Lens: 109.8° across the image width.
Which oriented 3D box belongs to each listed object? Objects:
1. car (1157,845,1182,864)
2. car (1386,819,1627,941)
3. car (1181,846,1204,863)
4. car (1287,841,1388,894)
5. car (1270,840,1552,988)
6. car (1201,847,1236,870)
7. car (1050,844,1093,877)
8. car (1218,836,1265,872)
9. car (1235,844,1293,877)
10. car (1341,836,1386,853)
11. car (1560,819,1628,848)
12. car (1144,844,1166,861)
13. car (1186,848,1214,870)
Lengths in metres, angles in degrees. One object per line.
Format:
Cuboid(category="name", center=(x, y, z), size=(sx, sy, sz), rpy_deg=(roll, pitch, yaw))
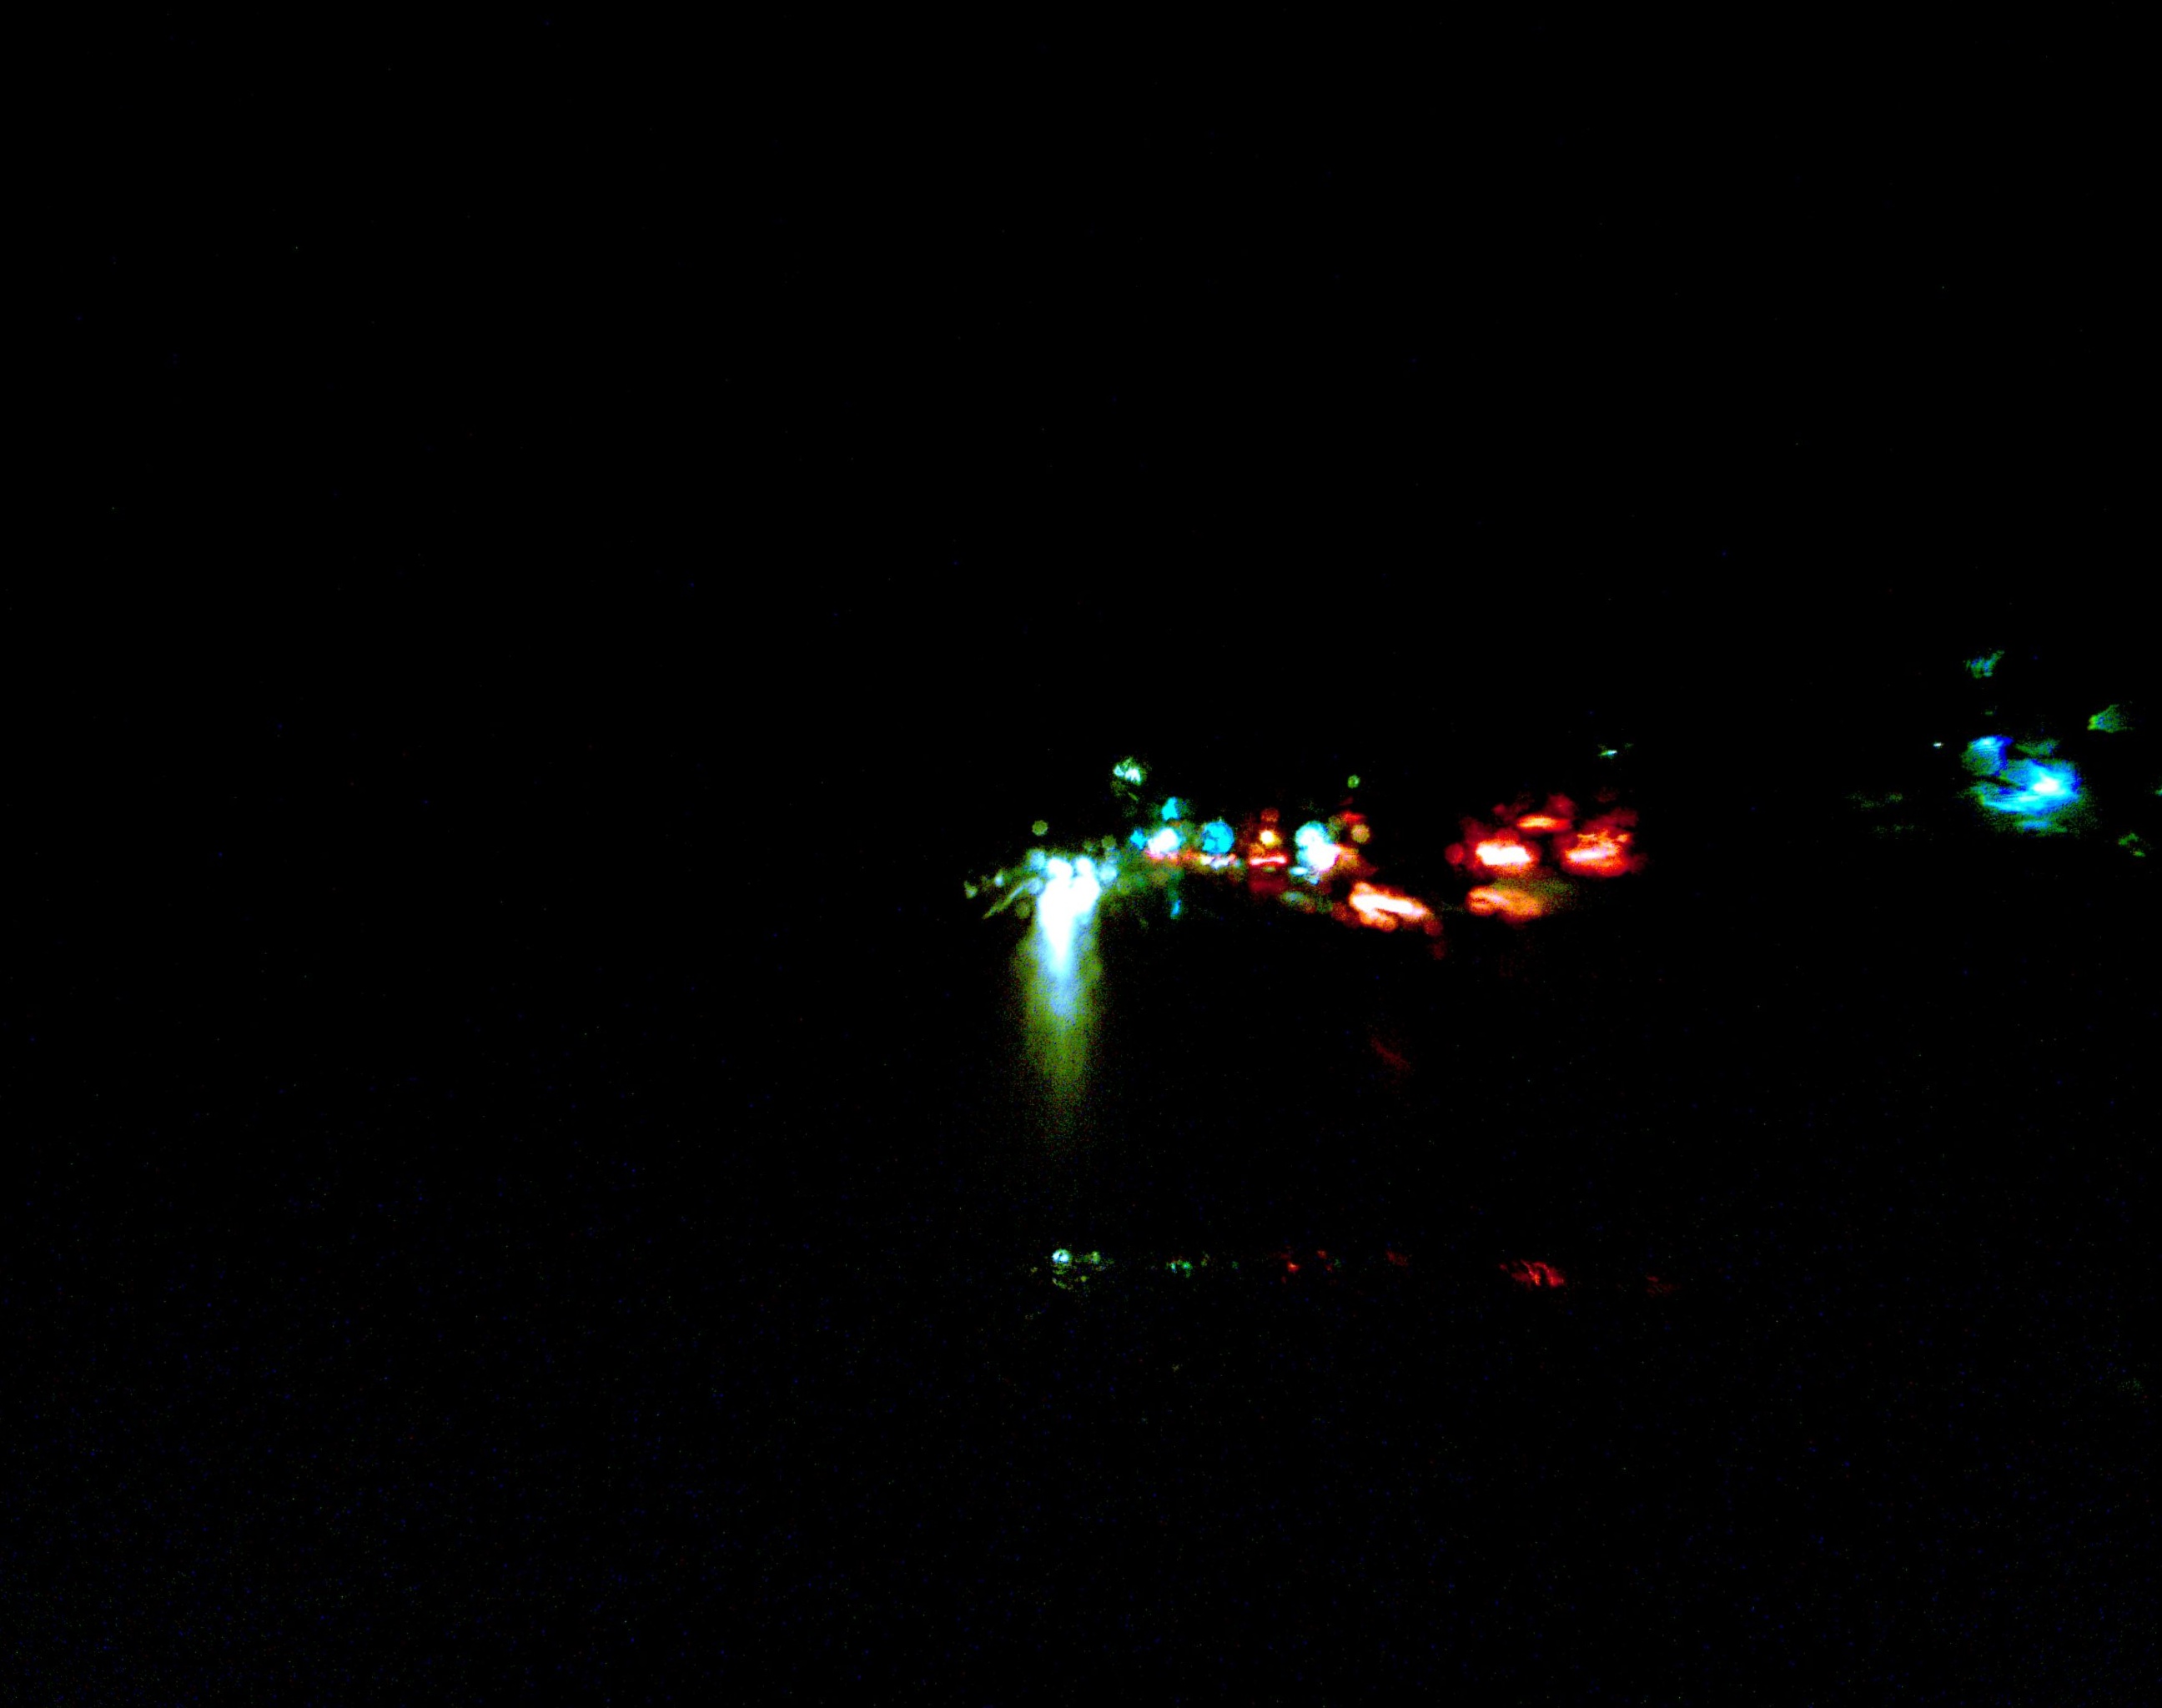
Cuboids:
Cuboid(category="car", center=(8.298, 0.007, 71.480), size=(1.961, 1.562, 4.466), rpy_deg=(-2, 1, 2))
Cuboid(category="car", center=(7.627, 0.387, 14.399), size=(1.998, 1.854, 5.321), rpy_deg=(-1, 0, 5))
Cuboid(category="car", center=(10.671, 0.009, 72.800), size=(1.827, 1.444, 3.602), rpy_deg=(-2, 1, 3))
Cuboid(category="car", center=(8.351, 0.383, 25.252), size=(2.088, 1.534, 4.900), rpy_deg=(-1, 0, 5))
Cuboid(category="car", center=(4.187, 0.636, 10.653), size=(2.115, 1.566, 4.680), rpy_deg=(-2, 1, 3))
Cuboid(category="car", center=(9.708, 0.290, 53.887), size=(1.970, 1.520, 3.688), rpy_deg=(-2, 1, 4))
Cuboid(category="car", center=(-0.459, 0.325, 41.690), size=(1.877, 1.579, 4.889), rpy_deg=(-2, 1, 4))
Cuboid(category="car", center=(9.838, -0.018, 46.930), size=(2.158, 2.002, 4.996), rpy_deg=(-2, 1, 4))
Cuboid(category="car", center=(9.327, 0.291, 39.136), size=(2.186, 1.549, 5.205), rpy_deg=(-1, 0, 5))
Cuboid(category="car", center=(30.776, -1.005, 82.750), size=(4.513, 1.833, 2.003), rpy_deg=(0, 0, 23))
Cuboid(category="car", center=(43.483, -1.726, 64.588), size=(1.998, 2.294, 6.023), rpy_deg=(-2, 1, 4))
Cuboid(category="car", center=(8.109, -0.201, 83.809), size=(1.998, 1.688, 5.012), rpy_deg=(-2, 1, 2))
Cuboid(category="car", center=(9.955, 0.382, 63.793), size=(1.998, 1.736, 4.500), rpy_deg=(-2, 1, 5))
